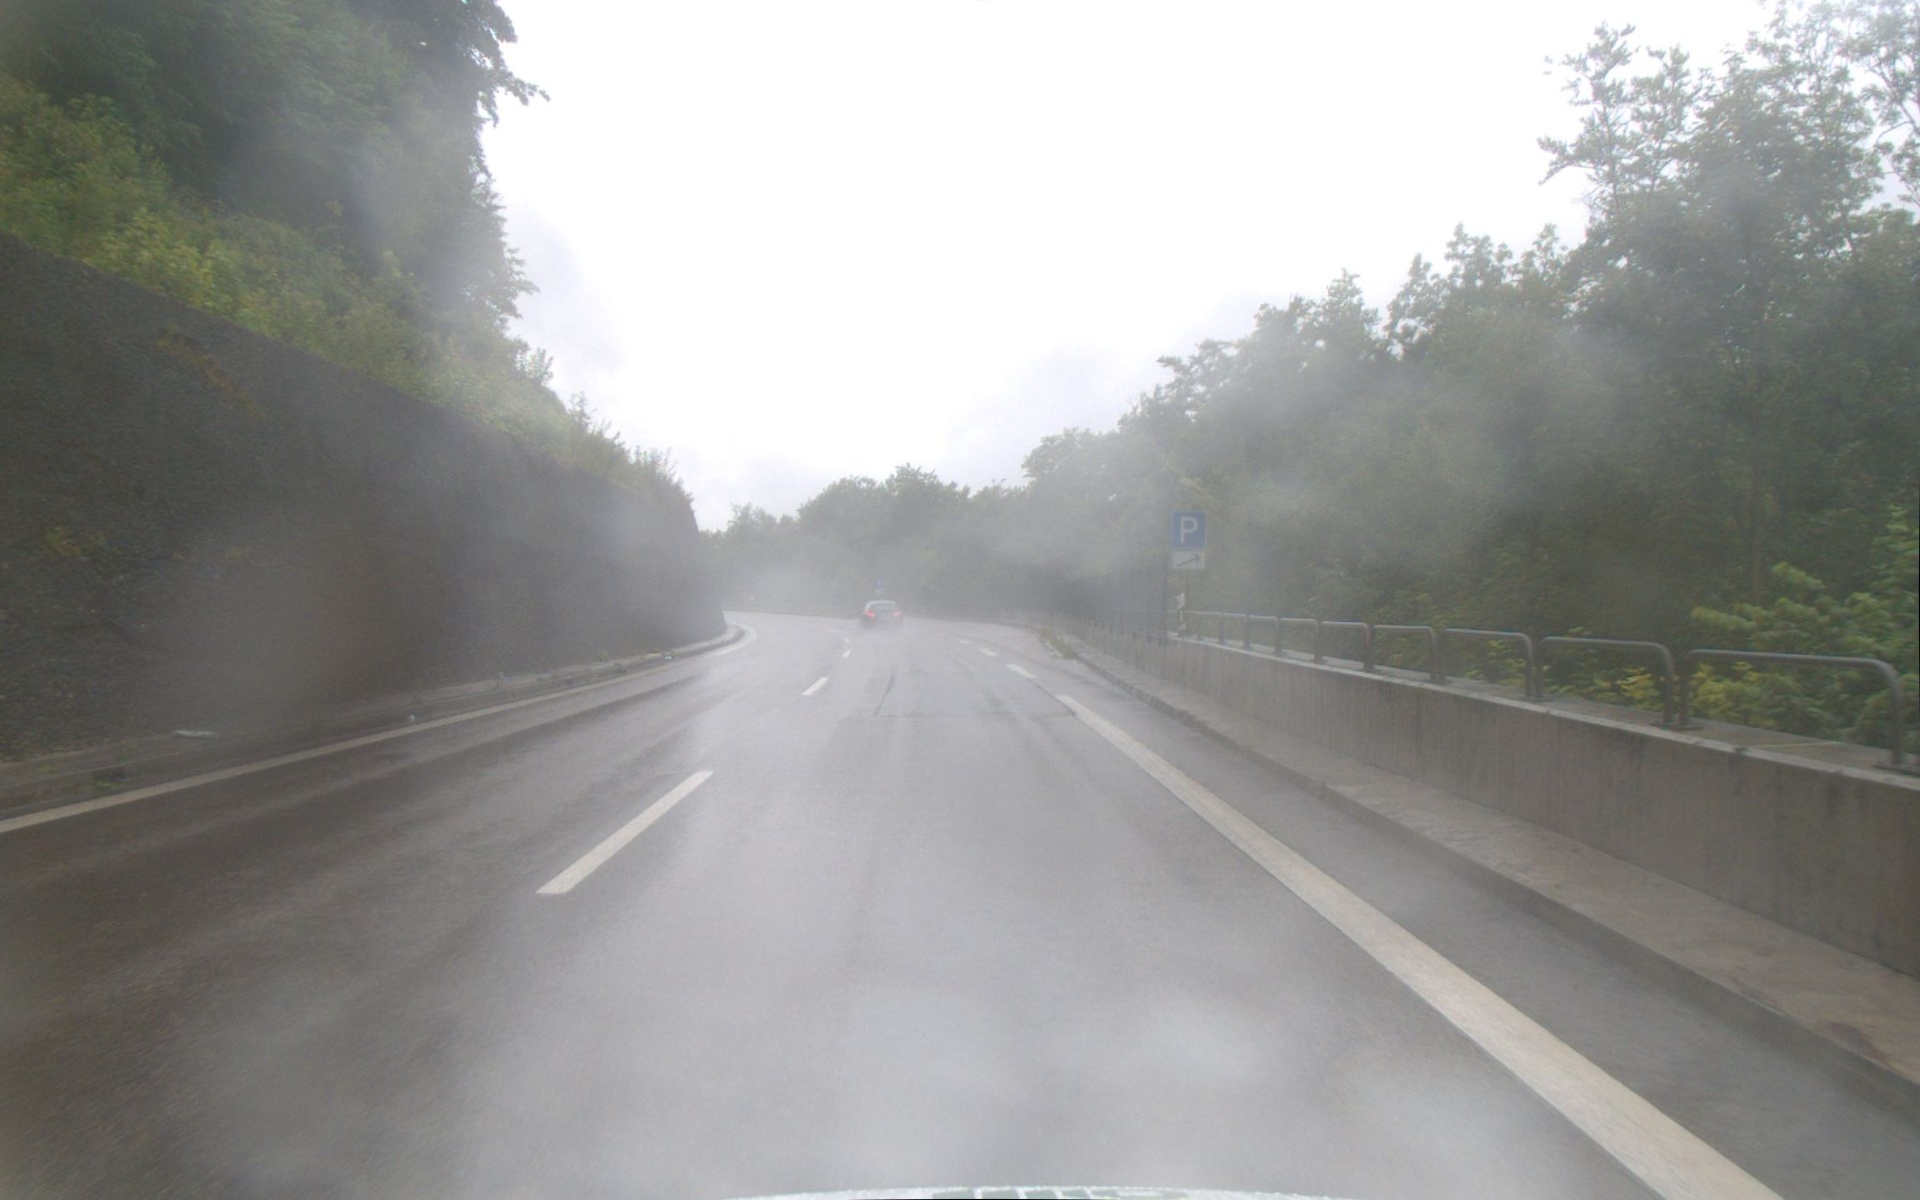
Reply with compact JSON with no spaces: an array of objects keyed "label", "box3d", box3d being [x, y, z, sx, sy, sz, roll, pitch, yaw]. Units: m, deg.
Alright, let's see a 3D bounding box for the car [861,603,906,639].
[{"label":"car","box3d":[-3.466,0.937,74.443,1.866,1.525,3.996,2,-1,-4]}]
